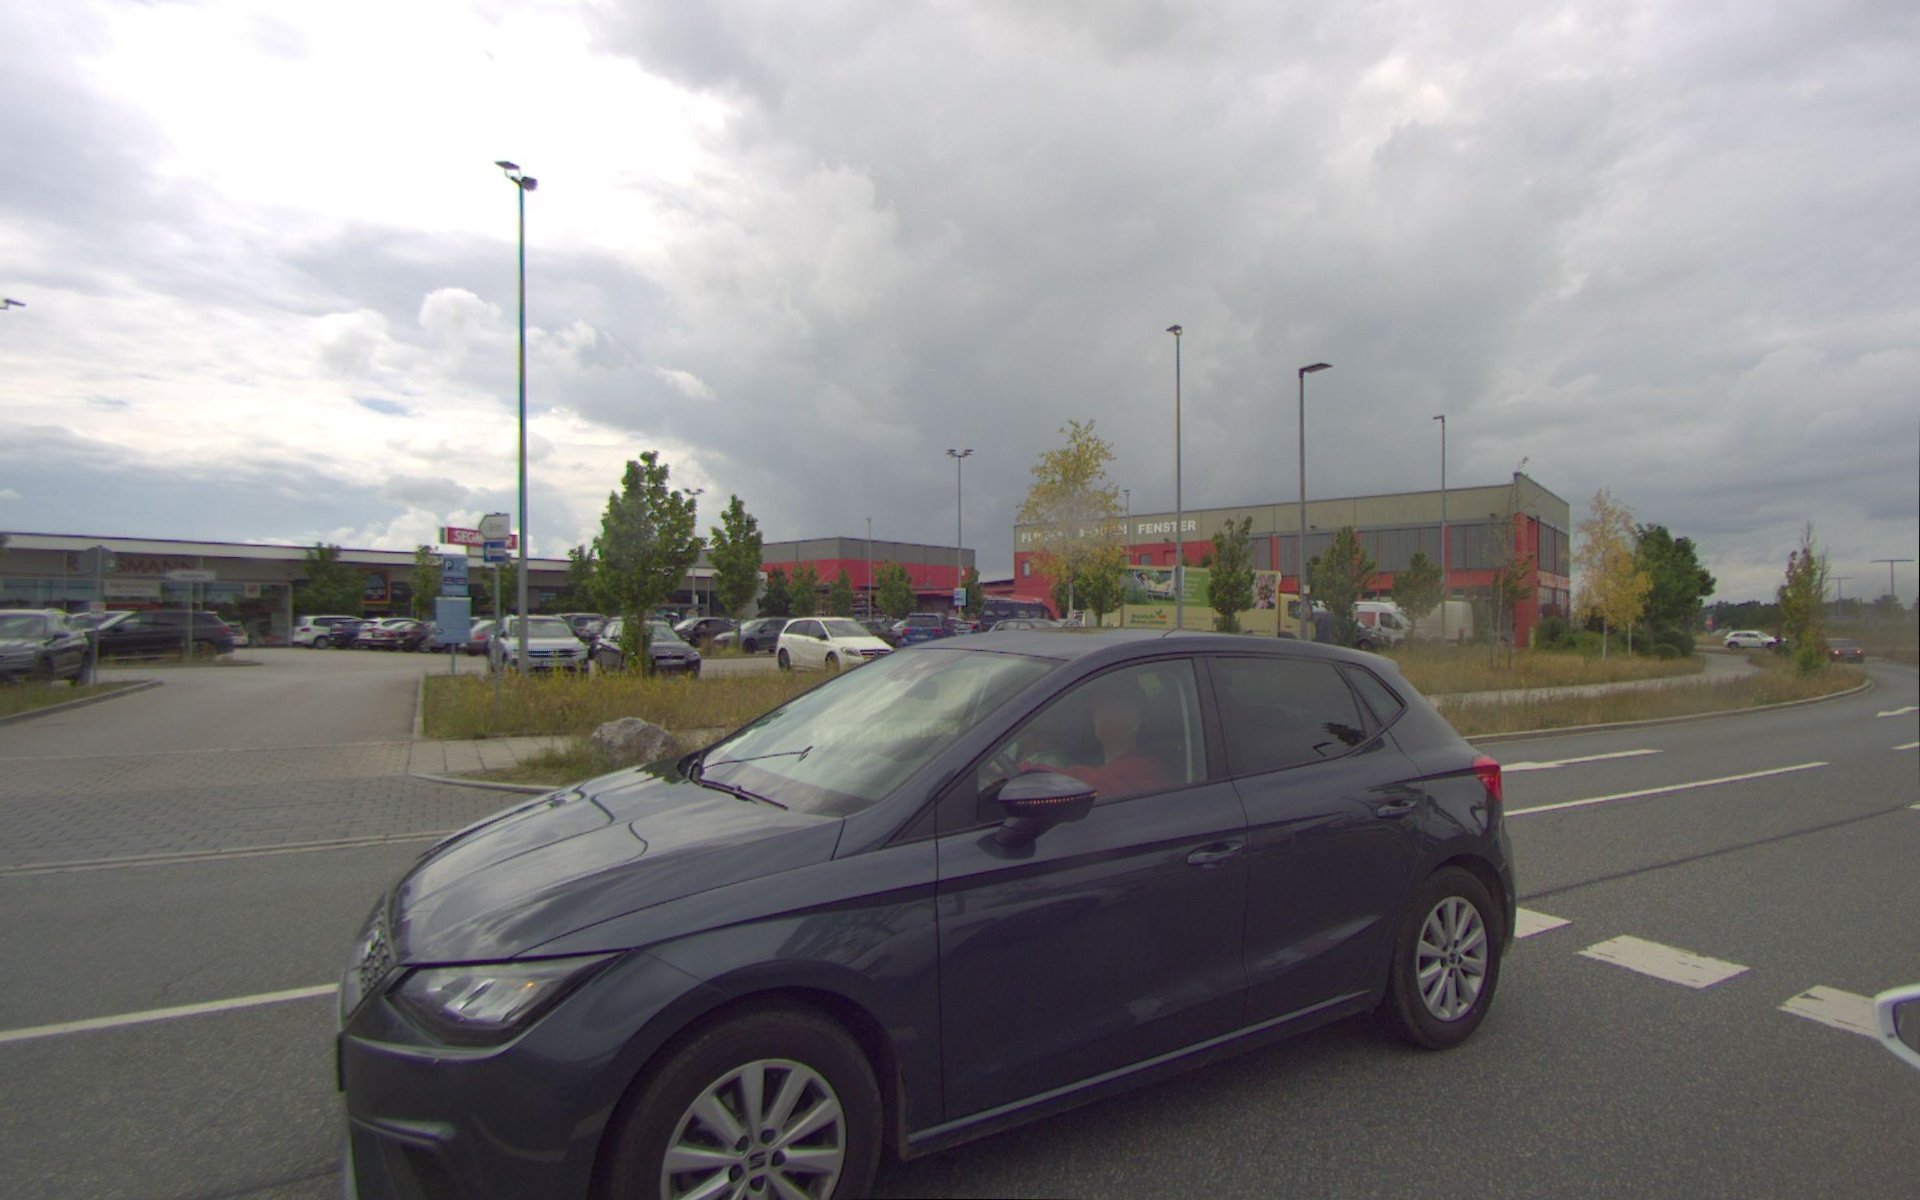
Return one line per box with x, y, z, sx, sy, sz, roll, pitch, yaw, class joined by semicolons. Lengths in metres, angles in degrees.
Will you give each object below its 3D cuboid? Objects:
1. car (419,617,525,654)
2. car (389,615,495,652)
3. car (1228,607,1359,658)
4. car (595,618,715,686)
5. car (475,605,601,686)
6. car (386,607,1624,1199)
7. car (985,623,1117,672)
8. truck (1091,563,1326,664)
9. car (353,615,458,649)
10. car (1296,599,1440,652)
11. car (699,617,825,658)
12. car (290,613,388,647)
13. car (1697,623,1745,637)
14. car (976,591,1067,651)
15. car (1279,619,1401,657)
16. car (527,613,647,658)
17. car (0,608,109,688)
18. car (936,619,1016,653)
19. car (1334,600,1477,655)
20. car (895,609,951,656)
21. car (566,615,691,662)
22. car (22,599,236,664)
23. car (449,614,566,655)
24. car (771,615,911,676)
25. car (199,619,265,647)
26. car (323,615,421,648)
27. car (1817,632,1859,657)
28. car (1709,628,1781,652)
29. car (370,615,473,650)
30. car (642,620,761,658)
-22.226;1.598;45.868;1.884;1.628;3.985;-1;-2;37;car
-24.163;1.547;46.983;1.968;1.628;3.985;-1;-2;37;car
14.026;1.382;42.408;2.162;2.016;4.859;2;-2;-41;car
-7.699;1.219;25.086;2.021;1.533;4.223;1;-1;-29;car
-10.202;1.045;24.137;2.007;1.745;4.216;2;-2;-34;car
0.377;0.790;3.630;4.198;1.439;1.820;1;-2;-32;car
2.841;1.491;32.255;1.978;1.454;4.203;1;-2;-36;car
9.374;0.579;38.090;8.282;3.588;2.852;1;-1;-12;truck
-28.173;1.609;51.134;1.968;1.628;4.277;-1;-2;37;car
19.352;1.204;47.840;5.998;2.337;2.200;-1;-2;41;car
-8.231;1.556;42.304;1.968;1.628;5.252;-1;-2;37;car
-33.002;1.601;53.446;1.968;1.755;3.985;-1;-2;37;car
85.260;3.372;112.534;1.832;1.425;3.955;1;-4;-40;car
3.009;1.011;48.129;2.030;2.726;5.131;-1;-2;34;car
17.220;1.691;45.594;4.842;1.638;1.986;-1;-2;39;car
-14.239;1.333;38.504;1.824;1.628;3.985;-1;-2;37;car
-18.463;0.894;19.431;2.138;1.409;4.341;1;-2;-28;car
0.827;1.765;49.522;1.968;1.628;3.985;-1;-2;37;car
22.761;1.386;51.491;6.335;2.632;2.232;-1;-2;42;car
-1.433;1.318;40.413;1.939;1.795;4.002;0;-2;2;car
-12.176;1.413;37.075;1.968;1.628;3.985;-1;-2;37;car
-24.389;0.930;29.639;1.969;1.769;4.564;-1;-2;39;car
-18.671;1.416;41.584;1.968;1.628;3.985;-1;-2;37;car
-3.409;1.237;28.094;1.972;1.580;4.213;1;-2;-39;car
-42.602;1.922;58.754;3.934;1.628;1.994;-1;-2;35;car
-30.494;1.628;52.156;1.968;1.628;3.985;-1;-2;37;car
61.680;3.127;70.619;1.776;1.691;4.312;-4;-4;36;car
68.879;3.531;88.164;1.978;2.040;4.584;1;-2;-32;car
-26.101;1.582;48.758;1.968;1.628;3.985;-1;-2;37;car
-11.800;1.776;46.176;1.968;1.628;5.252;-1;-2;37;car
